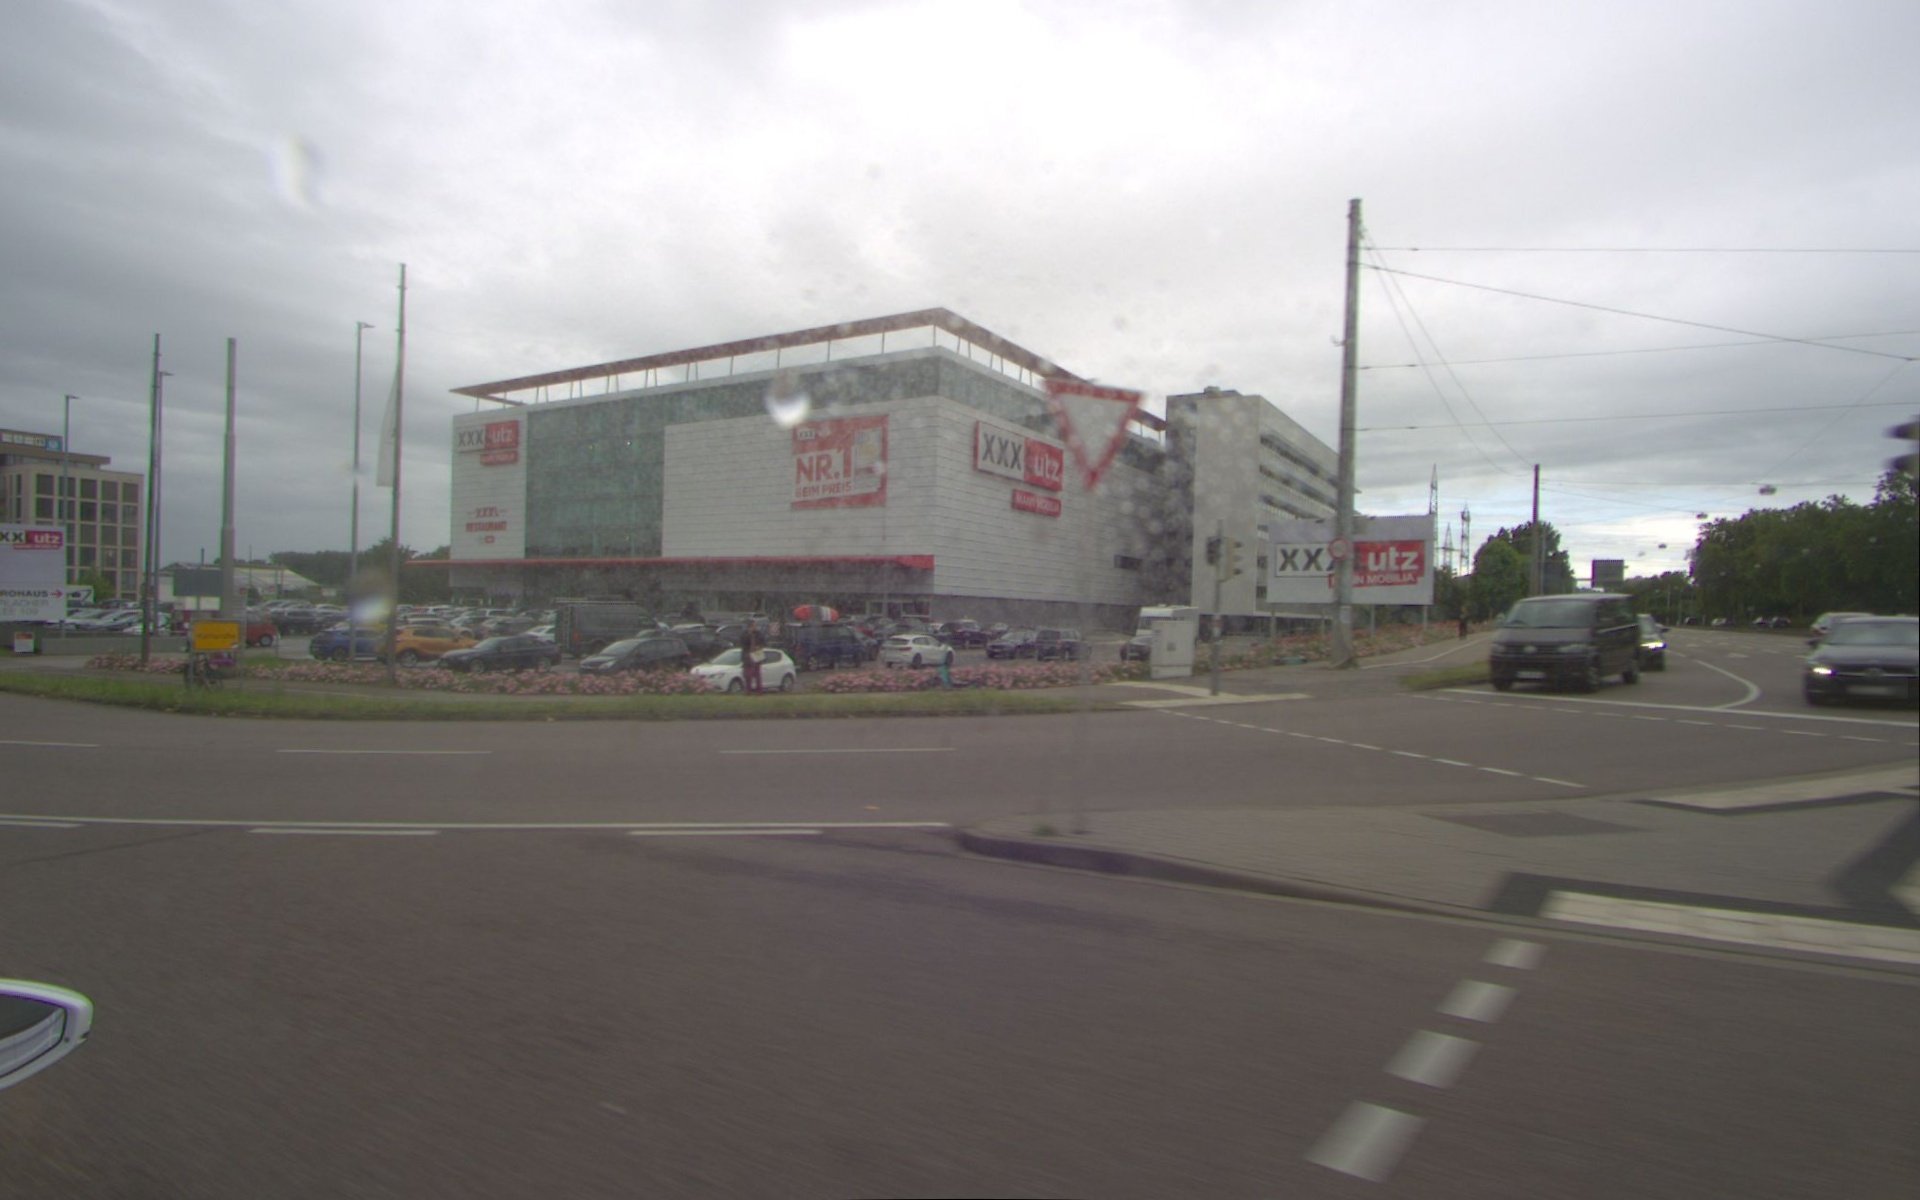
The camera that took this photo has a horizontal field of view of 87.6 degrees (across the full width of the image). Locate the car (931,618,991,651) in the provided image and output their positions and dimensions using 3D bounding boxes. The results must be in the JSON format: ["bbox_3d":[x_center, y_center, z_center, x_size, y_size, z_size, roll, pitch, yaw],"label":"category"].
[{"bbox_3d":[0.094,2.149,63.203,1.923,1.954,3.977,0,-1,34],"label":"car"}]

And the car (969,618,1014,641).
[{"bbox_3d":[2.338,2.151,73.792,1.627,1.581,3.596,2,1,33],"label":"car"}]

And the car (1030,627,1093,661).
[{"bbox_3d":[5.437,2.309,53.315,1.857,1.687,3.984,1,-1,29],"label":"car"}]

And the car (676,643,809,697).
[{"bbox_3d":[-6.878,2.190,32.096,1.847,1.464,4.102,3,0,31],"label":"car"}]

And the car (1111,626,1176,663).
[{"bbox_3d":[9.375,2.228,50.867,1.887,1.779,3.979,0,-1,33],"label":"car"}]

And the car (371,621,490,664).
[{"bbox_3d":[-21.867,1.719,41.450,1.792,1.664,3.975,0,-1,36],"label":"car"}]

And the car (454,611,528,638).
[{"bbox_3d":[-30.282,1.606,64.708,1.762,1.655,3.979,0,-2,34],"label":"car"}]

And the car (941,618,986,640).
[{"bbox_3d":[0.294,2.161,75.635,1.627,1.581,3.596,2,1,33],"label":"car"}]

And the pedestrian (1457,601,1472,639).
[{"bbox_3d":[24.198,0.956,48.066,0.538,1.805,0.632,3,1,29],"label":"pedestrian"}]

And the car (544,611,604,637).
[{"bbox_3d":[-29.242,1.857,75.956,1.812,1.863,3.985,1,-2,29],"label":"car"}]

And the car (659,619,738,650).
[{"bbox_3d":[-14.130,1.863,54.280,1.828,1.575,3.980,0,-2,33],"label":"car"}]

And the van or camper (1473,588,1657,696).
[{"bbox_3d":[12.980,0.824,21.359,4.704,2.040,2.105,0,-1,-43],"label":"van or camper"}]

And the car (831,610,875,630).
[{"bbox_3d":[-8.637,1.617,81.332,1.627,1.581,3.596,2,1,33],"label":"car"}]

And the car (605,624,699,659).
[{"bbox_3d":[-14.699,1.967,47.987,1.971,1.589,3.980,0,-1,33],"label":"car"}]

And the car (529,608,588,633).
[{"bbox_3d":[-31.091,1.586,77.624,1.859,1.845,3.986,0,-2,28],"label":"car"}]

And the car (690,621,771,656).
[{"bbox_3d":[-12.006,1.987,52.538,1.859,1.692,3.978,0,-1,34],"label":"car"}]

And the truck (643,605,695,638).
[{"bbox_3d":[-22.382,1.674,77.096,1.714,2.417,3.565,1,-2,31],"label":"truck"}]

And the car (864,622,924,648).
[{"bbox_3d":[-4.303,2.262,65.569,1.923,1.675,3.977,0,-1,34],"label":"car"}]

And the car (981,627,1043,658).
[{"bbox_3d":[2.875,2.272,54.262,1.805,1.536,3.984,0,-1,29],"label":"car"}]

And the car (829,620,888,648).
[{"bbox_3d":[-6.733,2.237,66.944,1.796,1.842,3.977,0,-1,34],"label":"car"}]

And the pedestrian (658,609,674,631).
[{"bbox_3d":[-26.292,1.806,89.478,0.952,1.894,0.949,3,1,15],"label":"pedestrian"}]

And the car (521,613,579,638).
[{"bbox_3d":[-32.456,2.026,79.424,1.761,1.843,3.981,0,-2,32],"label":"car"}]

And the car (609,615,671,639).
[{"bbox_3d":[-22.863,1.961,71.666,1.807,1.676,3.983,0,-2,30],"label":"car"}]

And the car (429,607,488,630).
[{"bbox_3d":[-41.773,1.568,83.471,1.870,1.772,3.975,0,-2,36],"label":"car"}]

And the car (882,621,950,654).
[{"bbox_3d":[-2.532,2.155,58.761,1.839,1.804,4.199,1,0,34],"label":"car"}]

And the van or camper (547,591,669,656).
[{"bbox_3d":[-17.182,1.177,49.084,1.967,3.022,5.357,0,-1,40],"label":"van or camper"}]

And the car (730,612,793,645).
[{"bbox_3d":[-12.970,1.912,65.596,1.857,2.074,3.981,0,-2,32],"label":"car"}]

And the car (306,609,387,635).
[{"bbox_3d":[-39.214,1.410,64.087,1.861,1.553,3.982,1,-2,31],"label":"car"}]

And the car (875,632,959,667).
[{"bbox_3d":[-1.915,2.218,46.001,1.721,1.495,4.188,0,-1,34],"label":"car"}]

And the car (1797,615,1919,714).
[{"bbox_3d":[15.522,1.021,16.921,1.818,1.483,4.170,0,-1,44],"label":"car"}]

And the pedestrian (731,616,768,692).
[{"bbox_3d":[-4.584,1.178,21.840,0.703,1.617,0.784,-1,-1,-6],"label":"pedestrian"}]

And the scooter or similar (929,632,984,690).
[{"bbox_3d":[-0.077,1.335,21.807,1.142,1.248,0.346,1,-2,-6],"label":"scooter or similar"}]

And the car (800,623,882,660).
[{"bbox_3d":[-5.792,2.023,49.126,1.970,1.696,3.982,0,-2,31],"label":"car"}]

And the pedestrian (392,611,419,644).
[{"bbox_3d":[-30.718,1.529,55.465,0.872,1.742,0.938,3,1,31],"label":"pedestrian"}]
